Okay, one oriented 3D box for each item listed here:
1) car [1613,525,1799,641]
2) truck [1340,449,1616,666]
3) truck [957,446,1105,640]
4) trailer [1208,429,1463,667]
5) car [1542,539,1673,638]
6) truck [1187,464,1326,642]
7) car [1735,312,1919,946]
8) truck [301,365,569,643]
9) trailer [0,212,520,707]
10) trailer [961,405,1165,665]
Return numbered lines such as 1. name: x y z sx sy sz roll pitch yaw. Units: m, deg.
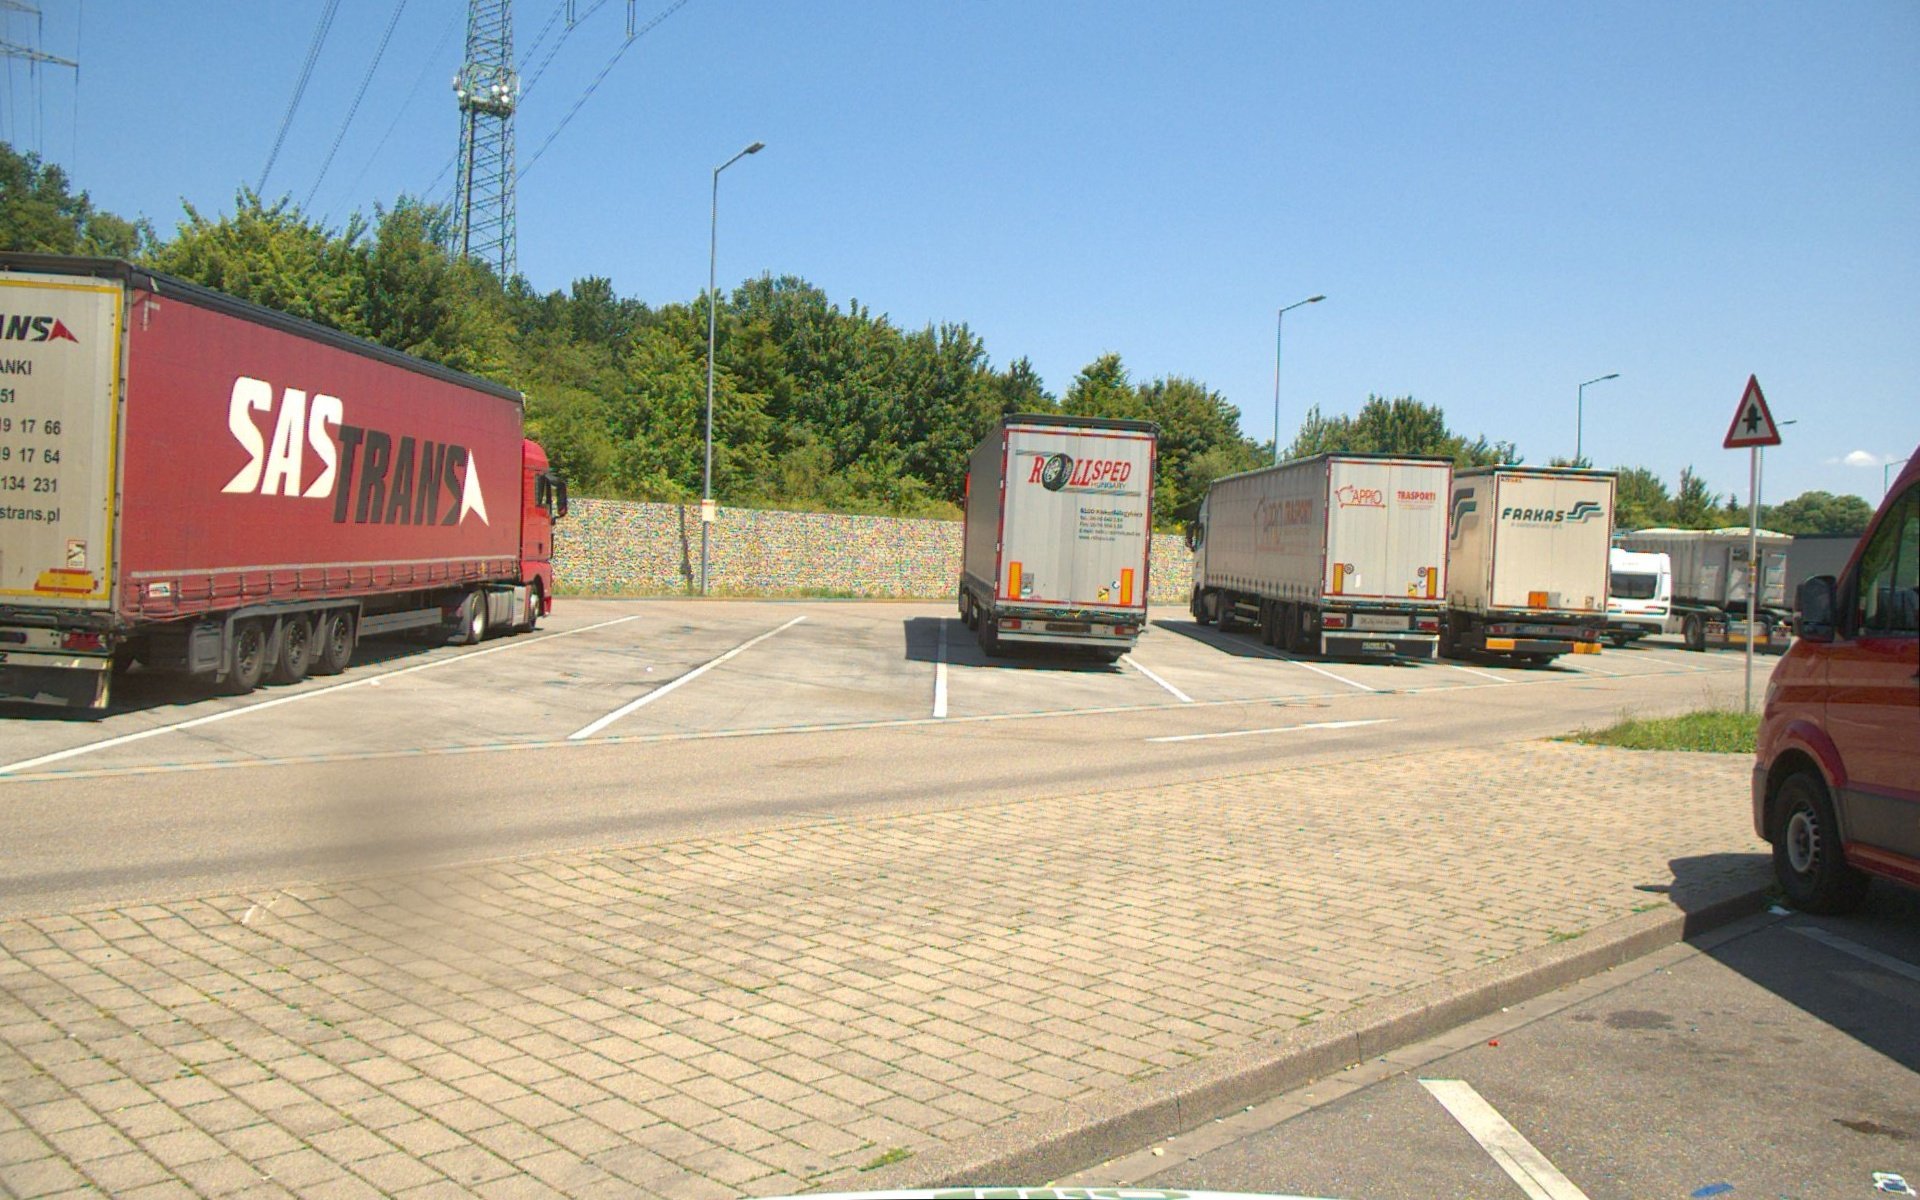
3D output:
1. car: 21.697 -0.520 48.503 2.449 3.128 6.350 1 1 -1
2. truck: 11.713 -0.822 38.954 2.534 4.299 11.967 1 0 -1
3. truck: 1.496 -1.255 37.804 2.814 4.050 6.027 1 1 -3
4. trailer: 8.176 -1.112 38.216 2.627 4.530 12.826 1 1 -1
5. car: 18.232 -0.291 46.744 2.072 2.645 3.999 1 0 -1
6. truck: 8.019 -1.267 45.410 2.607 4.530 5.863 1 1 -1
7. car: 4.968 0.157 5.578 1.952 2.679 6.385 1 1 3
8. truck: -8.725 -1.524 28.242 2.749 4.205 5.893 1 1 -1
9. trailer: -8.636 -1.352 20.986 2.743 4.293 13.200 1 1 -1
10. trailer: 1.646 -1.137 31.966 2.839 4.083 11.313 1 1 -2
